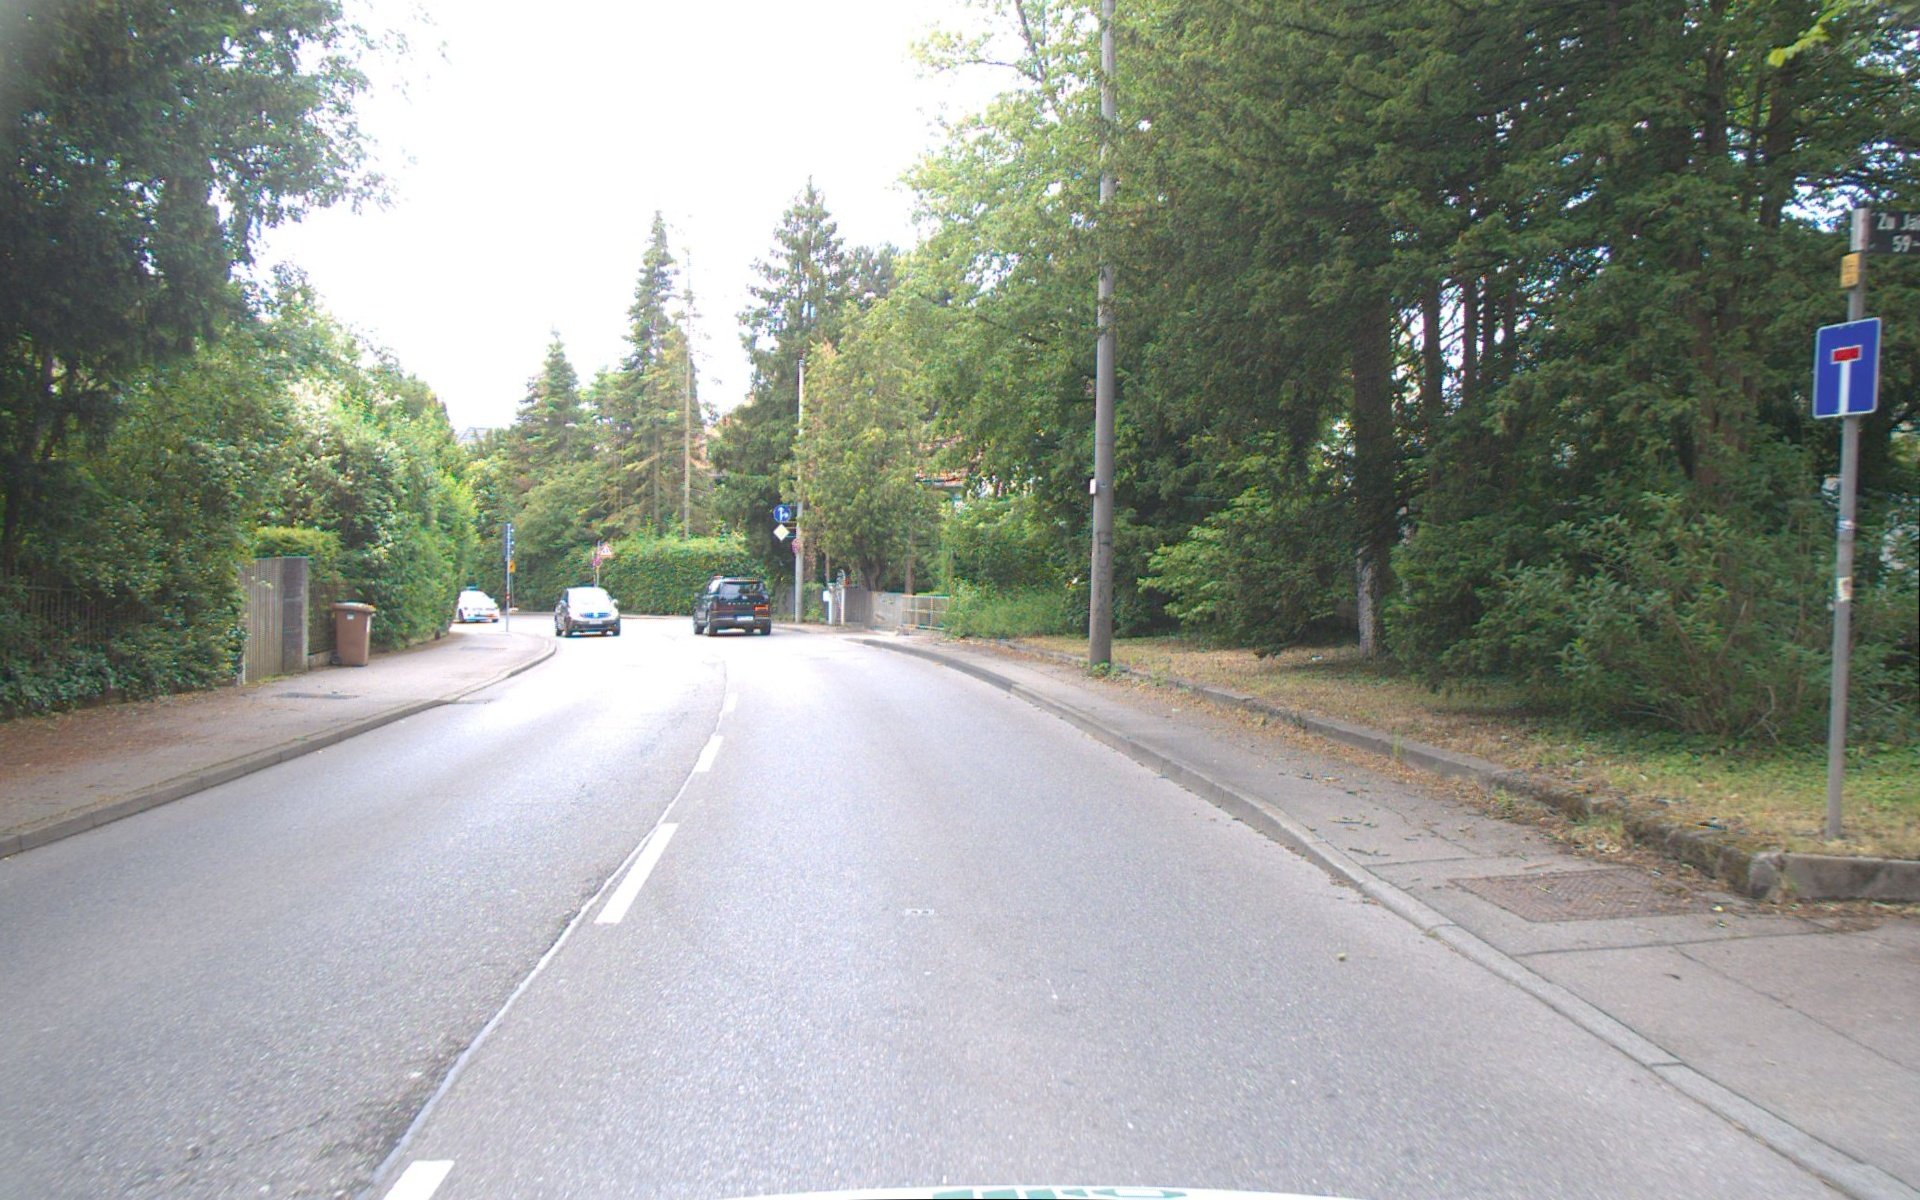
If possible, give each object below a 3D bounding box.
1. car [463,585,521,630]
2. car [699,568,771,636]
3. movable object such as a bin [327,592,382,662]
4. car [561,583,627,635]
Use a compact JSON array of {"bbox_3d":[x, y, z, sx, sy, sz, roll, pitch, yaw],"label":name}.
[{"bbox_3d":[-16.766,0.249,59.158,1.872,1.479,3.778,-3,1,-17],"label":"car"},{"bbox_3d":[-6.908,0.022,50.432,1.957,1.914,3.991,1,1,-10],"label":"car"},{"bbox_3d":[-10.420,0.459,28.481,0.727,1.161,0.645,2,0,-11],"label":"movable object such as a bin"},{"bbox_3d":[-11.987,0.257,54.054,1.960,1.646,3.985,0,1,-15],"label":"car"}]
